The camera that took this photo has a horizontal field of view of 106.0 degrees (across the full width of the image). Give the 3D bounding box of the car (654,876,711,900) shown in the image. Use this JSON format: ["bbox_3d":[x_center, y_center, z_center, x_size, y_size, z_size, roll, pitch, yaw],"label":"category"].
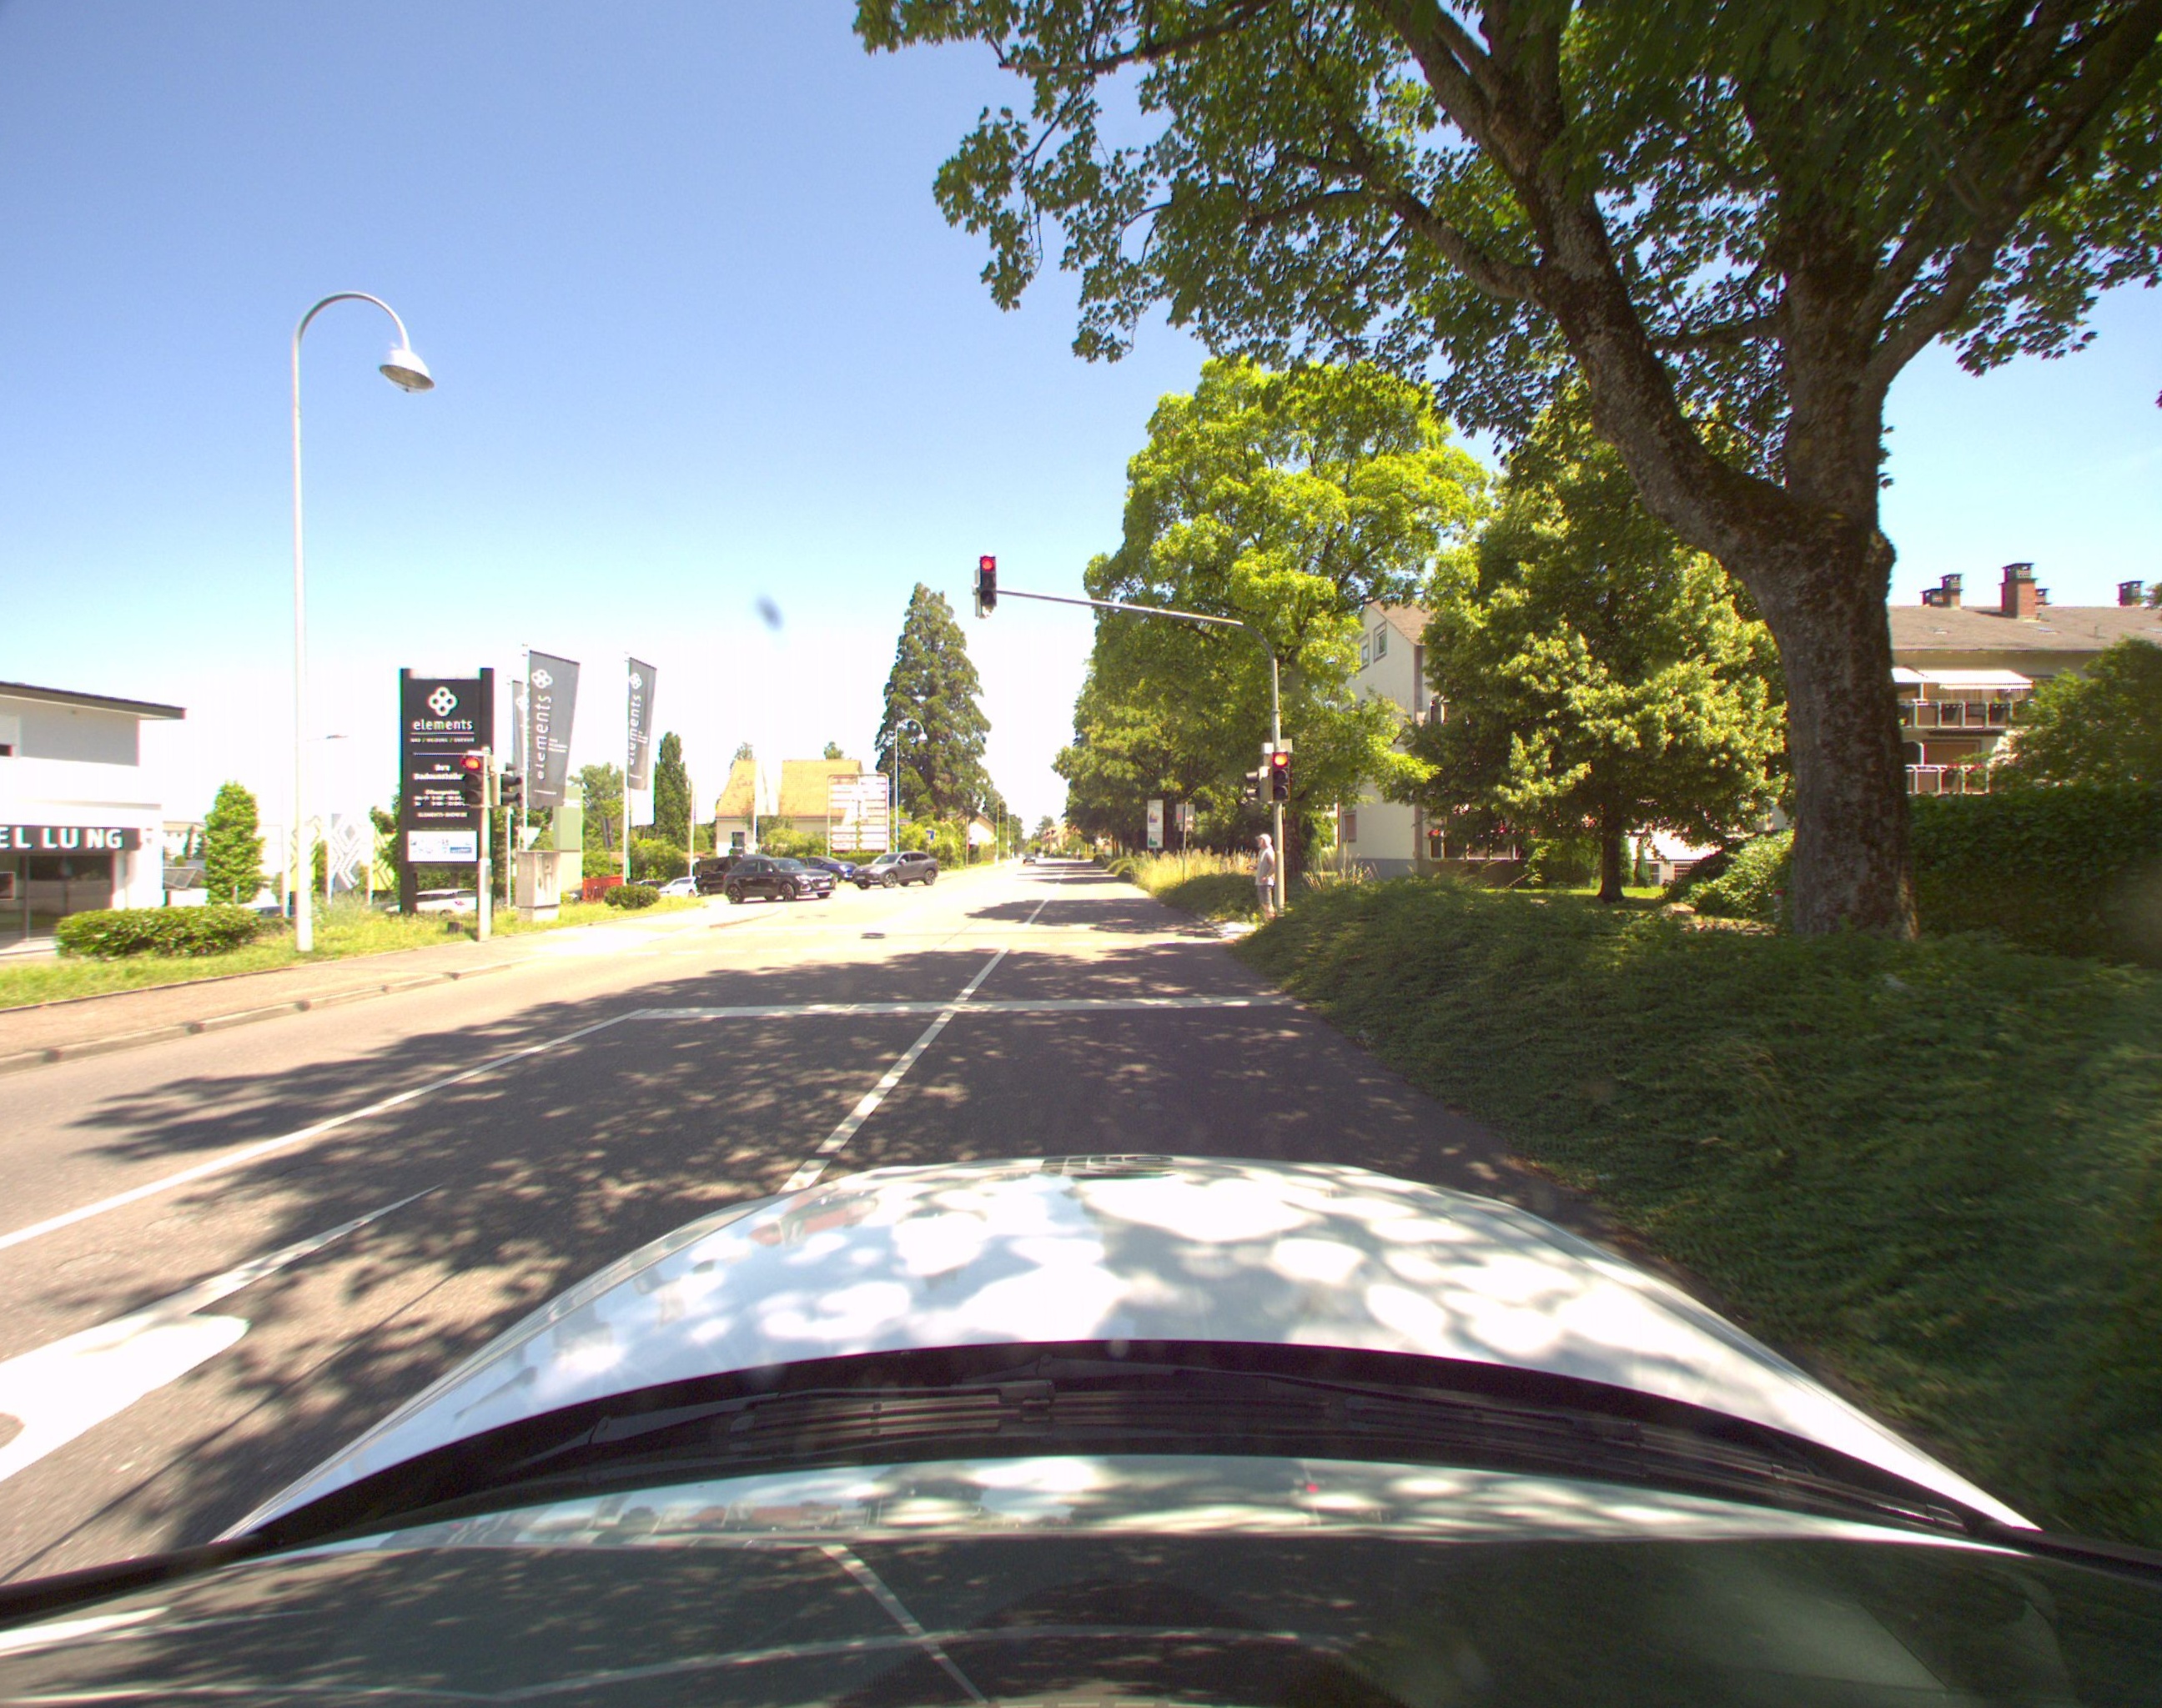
[{"bbox_3d":[-22.810,1.943,46.746,1.743,1.226,3.240,0,0,-3],"label":"car"}]

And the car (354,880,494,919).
[{"bbox_3d":[-27.483,1.880,34.164,4.277,1.487,2.002,-1,0,3],"label":"car"}]

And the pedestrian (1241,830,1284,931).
[{"bbox_3d":[3.192,0.457,14.378,0.559,1.751,0.614,0,-1,-6],"label":"pedestrian"}]

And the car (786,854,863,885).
[{"bbox_3d":[-13.194,0.786,42.090,3.485,1.427,1.598,-2,0,-6],"label":"car"}]

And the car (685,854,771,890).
[{"bbox_3d":[-17.227,0.878,39.886,3.485,1.617,1.598,-2,0,-6],"label":"car"}]

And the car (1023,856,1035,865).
[{"bbox_3d":[-7.334,0.924,114.640,1.425,1.322,3.356,0,0,2],"label":"car"}]

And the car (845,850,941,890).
[{"bbox_3d":[-8.770,0.703,38.354,1.861,1.717,4.337,-1,0,31],"label":"car"}]

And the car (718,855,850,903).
[{"bbox_3d":[-10.707,0.896,29.371,4.255,1.526,1.939,-3,-1,23],"label":"car"}]
